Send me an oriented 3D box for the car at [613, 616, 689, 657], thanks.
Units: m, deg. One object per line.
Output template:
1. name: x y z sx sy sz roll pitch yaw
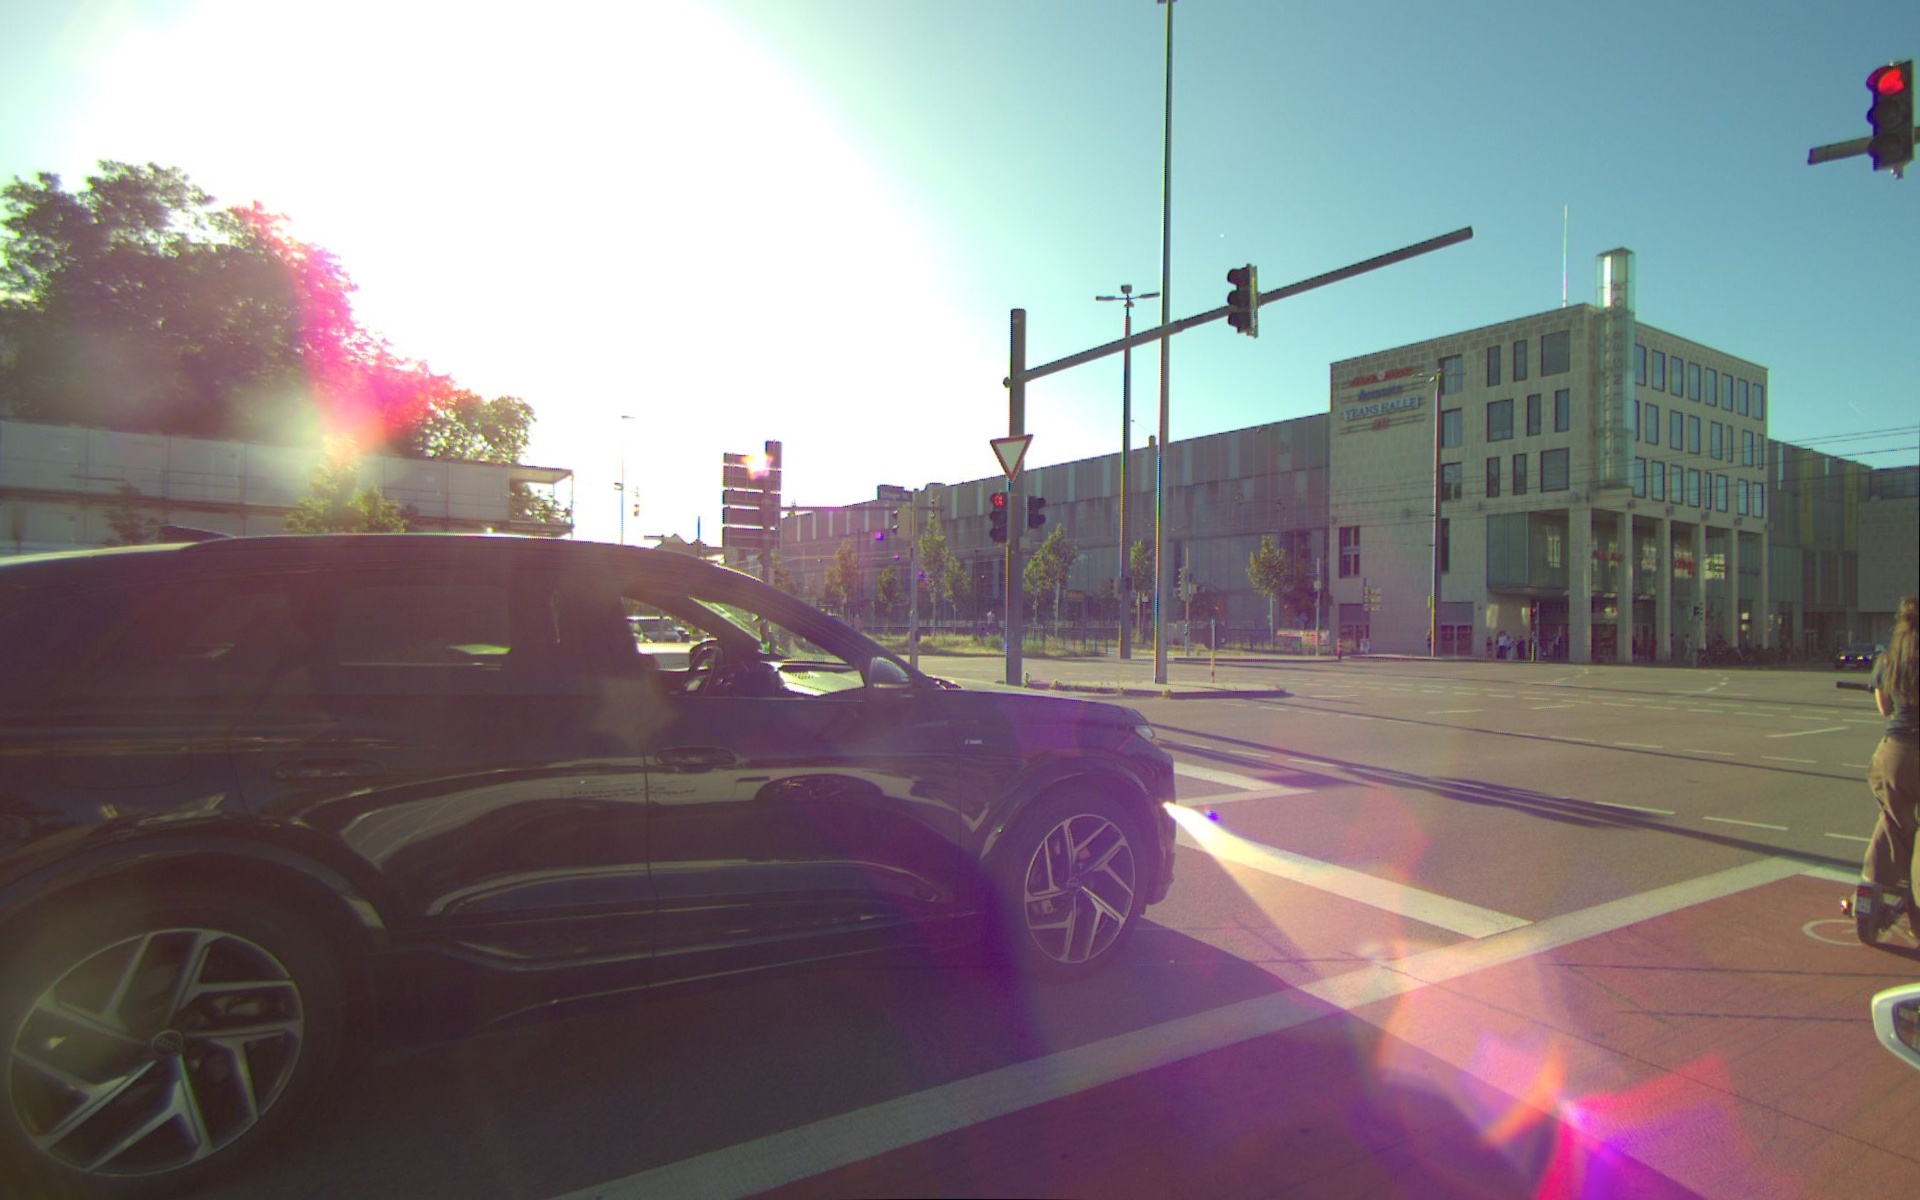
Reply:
1. car: -14.894 1.705 48.243 1.981 1.849 4.821 1 -2 -36

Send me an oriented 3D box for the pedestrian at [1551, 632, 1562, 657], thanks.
1. pedestrian: 38.612 2.882 65.015 0.493 1.606 0.426 1 -1 -34

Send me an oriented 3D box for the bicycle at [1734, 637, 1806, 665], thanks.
1. bicycle: 51.122 3.190 63.429 0.979 1.719 3.462 1 -2 -40

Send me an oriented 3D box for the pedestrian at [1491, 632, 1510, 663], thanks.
1. pedestrian: 32.245 2.855 59.928 0.729 1.822 0.752 1 -1 -34

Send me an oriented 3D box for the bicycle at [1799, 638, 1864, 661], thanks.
1. bicycle: 62.669 3.524 72.258 0.979 1.547 3.462 2 -2 -40

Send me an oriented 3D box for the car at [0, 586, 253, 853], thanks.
1. car: -6.848 0.616 5.658 4.433 1.425 1.985 1 0 -29

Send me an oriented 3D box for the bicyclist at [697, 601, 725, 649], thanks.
1. bicyclist: -13.878 1.398 56.039 1.007 2.677 1.610 1 -1 -34

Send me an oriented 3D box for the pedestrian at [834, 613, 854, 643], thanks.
1. pedestrian: -7.561 1.819 65.440 0.891 1.855 0.786 4 -2 -39

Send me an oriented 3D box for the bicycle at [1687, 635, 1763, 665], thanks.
1. bicycle: 45.702 2.976 60.038 1.107 1.719 3.465 1 -2 -38

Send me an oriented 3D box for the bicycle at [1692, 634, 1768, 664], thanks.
1. bicycle: 46.580 2.946 60.803 1.107 1.719 3.465 1 -2 -38

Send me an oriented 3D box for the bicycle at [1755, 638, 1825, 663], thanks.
1. bicycle: 55.259 3.329 66.926 0.979 1.547 3.462 2 -2 -40

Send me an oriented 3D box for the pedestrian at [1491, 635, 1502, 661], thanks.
1. pedestrian: 32.773 2.923 61.318 0.452 1.586 0.420 1 -1 -30

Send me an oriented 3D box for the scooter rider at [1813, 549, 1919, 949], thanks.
1. scooter rider: 4.658 0.677 4.748 0.801 1.798 0.725 1 -1 -30

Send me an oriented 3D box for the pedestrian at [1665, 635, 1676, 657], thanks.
1. pedestrian: 50.476 3.278 71.386 0.508 1.530 0.479 1 -1 -34

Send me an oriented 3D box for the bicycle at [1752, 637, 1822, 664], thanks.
1. bicycle: 54.508 3.320 66.258 0.979 1.719 3.462 1 -2 -40

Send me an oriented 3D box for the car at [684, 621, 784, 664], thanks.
1. car: -9.396 1.703 41.520 2.313 1.671 4.821 1 -2 -37

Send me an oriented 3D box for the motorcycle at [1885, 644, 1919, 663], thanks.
1. motorcycle: 70.750 4.017 75.089 0.713 1.335 2.260 1 -2 -34

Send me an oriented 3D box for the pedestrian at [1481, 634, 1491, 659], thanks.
1. pedestrian: 32.230 2.862 61.534 0.454 1.521 0.418 1 -1 -41

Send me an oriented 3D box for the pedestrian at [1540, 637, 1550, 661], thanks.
1. pedestrian: 34.853 2.913 59.848 0.382 1.431 0.435 -1 -2 45

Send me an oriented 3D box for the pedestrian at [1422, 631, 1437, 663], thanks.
1. pedestrian: 25.028 2.508 53.516 0.541 1.716 0.523 1 -1 -27

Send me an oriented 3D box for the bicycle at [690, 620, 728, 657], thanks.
1. bicycle: -14.332 2.158 57.215 1.007 2.040 3.472 1 -2 -33

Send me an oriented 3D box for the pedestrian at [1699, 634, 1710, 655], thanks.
1. pedestrian: 53.948 3.245 72.767 0.508 1.530 0.479 1 -1 -34

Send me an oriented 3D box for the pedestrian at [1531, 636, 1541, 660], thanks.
1. pedestrian: 34.501 2.853 60.135 0.499 1.445 0.382 2 -2 -45

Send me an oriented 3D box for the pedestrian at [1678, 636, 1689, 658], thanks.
1. pedestrian: 51.031 3.292 70.844 0.508 1.530 0.479 1 -1 -34

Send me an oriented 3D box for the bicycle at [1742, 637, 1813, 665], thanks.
1. bicycle: 52.862 3.259 64.968 0.979 1.719 3.462 1 -2 -40

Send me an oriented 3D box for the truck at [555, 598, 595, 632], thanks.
1. truck: -33.475 1.328 87.259 1.979 2.875 6.293 1 -2 -33

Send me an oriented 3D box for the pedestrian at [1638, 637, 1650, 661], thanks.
1. pedestrian: 44.990 3.204 66.083 0.508 1.530 0.479 1 -1 -34

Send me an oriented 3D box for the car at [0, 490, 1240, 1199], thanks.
1. car: -1.214 0.633 3.914 4.567 1.666 1.921 1 -1 -33

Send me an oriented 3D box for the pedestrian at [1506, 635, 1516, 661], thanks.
1. pedestrian: 33.416 2.919 60.928 0.453 1.547 0.418 1 -1 -37

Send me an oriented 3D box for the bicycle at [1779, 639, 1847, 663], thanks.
1. bicycle: 58.877 3.479 69.394 0.979 1.547 3.462 2 -2 -40

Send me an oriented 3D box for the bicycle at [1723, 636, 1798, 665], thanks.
1. bicycle: 49.147 3.079 61.744 1.107 1.719 3.465 1 -2 -38

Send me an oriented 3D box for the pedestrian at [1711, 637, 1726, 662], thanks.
1. pedestrian: 50.795 3.313 67.266 0.689 1.664 0.648 1 -1 -38

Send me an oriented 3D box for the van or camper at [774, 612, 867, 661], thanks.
1. van or camper: -6.191 1.572 44.187 1.981 2.040 4.821 1 -2 -36

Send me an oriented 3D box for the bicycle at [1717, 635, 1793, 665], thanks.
1. bicycle: 48.218 3.012 60.944 1.107 1.719 3.465 1 -2 -38

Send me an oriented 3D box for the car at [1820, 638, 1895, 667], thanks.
1. car: 49.511 2.893 55.417 3.953 1.505 1.984 1 -1 -30

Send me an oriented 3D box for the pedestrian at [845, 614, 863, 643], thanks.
1. pedestrian: -6.785 1.819 64.119 0.889 1.855 0.787 1 -1 -35

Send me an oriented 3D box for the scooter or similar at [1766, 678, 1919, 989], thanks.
1. scooter or similar: 4.583 1.011 4.705 1.645 1.218 0.725 1 -1 -30

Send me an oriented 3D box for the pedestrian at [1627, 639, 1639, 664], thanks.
1. pedestrian: 44.187 3.393 65.954 0.508 1.606 0.479 1 -1 -34

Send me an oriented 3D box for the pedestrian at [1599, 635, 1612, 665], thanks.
1. pedestrian: 36.275 2.786 56.449 0.533 1.664 0.548 0 -1 38

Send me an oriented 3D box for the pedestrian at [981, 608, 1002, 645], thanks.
1. pedestrian: 1.587 1.351 50.600 0.788 1.855 0.706 1 -1 -37

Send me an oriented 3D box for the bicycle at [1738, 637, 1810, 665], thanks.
1. bicycle: 51.948 3.227 64.164 0.979 1.719 3.462 1 -2 -40
